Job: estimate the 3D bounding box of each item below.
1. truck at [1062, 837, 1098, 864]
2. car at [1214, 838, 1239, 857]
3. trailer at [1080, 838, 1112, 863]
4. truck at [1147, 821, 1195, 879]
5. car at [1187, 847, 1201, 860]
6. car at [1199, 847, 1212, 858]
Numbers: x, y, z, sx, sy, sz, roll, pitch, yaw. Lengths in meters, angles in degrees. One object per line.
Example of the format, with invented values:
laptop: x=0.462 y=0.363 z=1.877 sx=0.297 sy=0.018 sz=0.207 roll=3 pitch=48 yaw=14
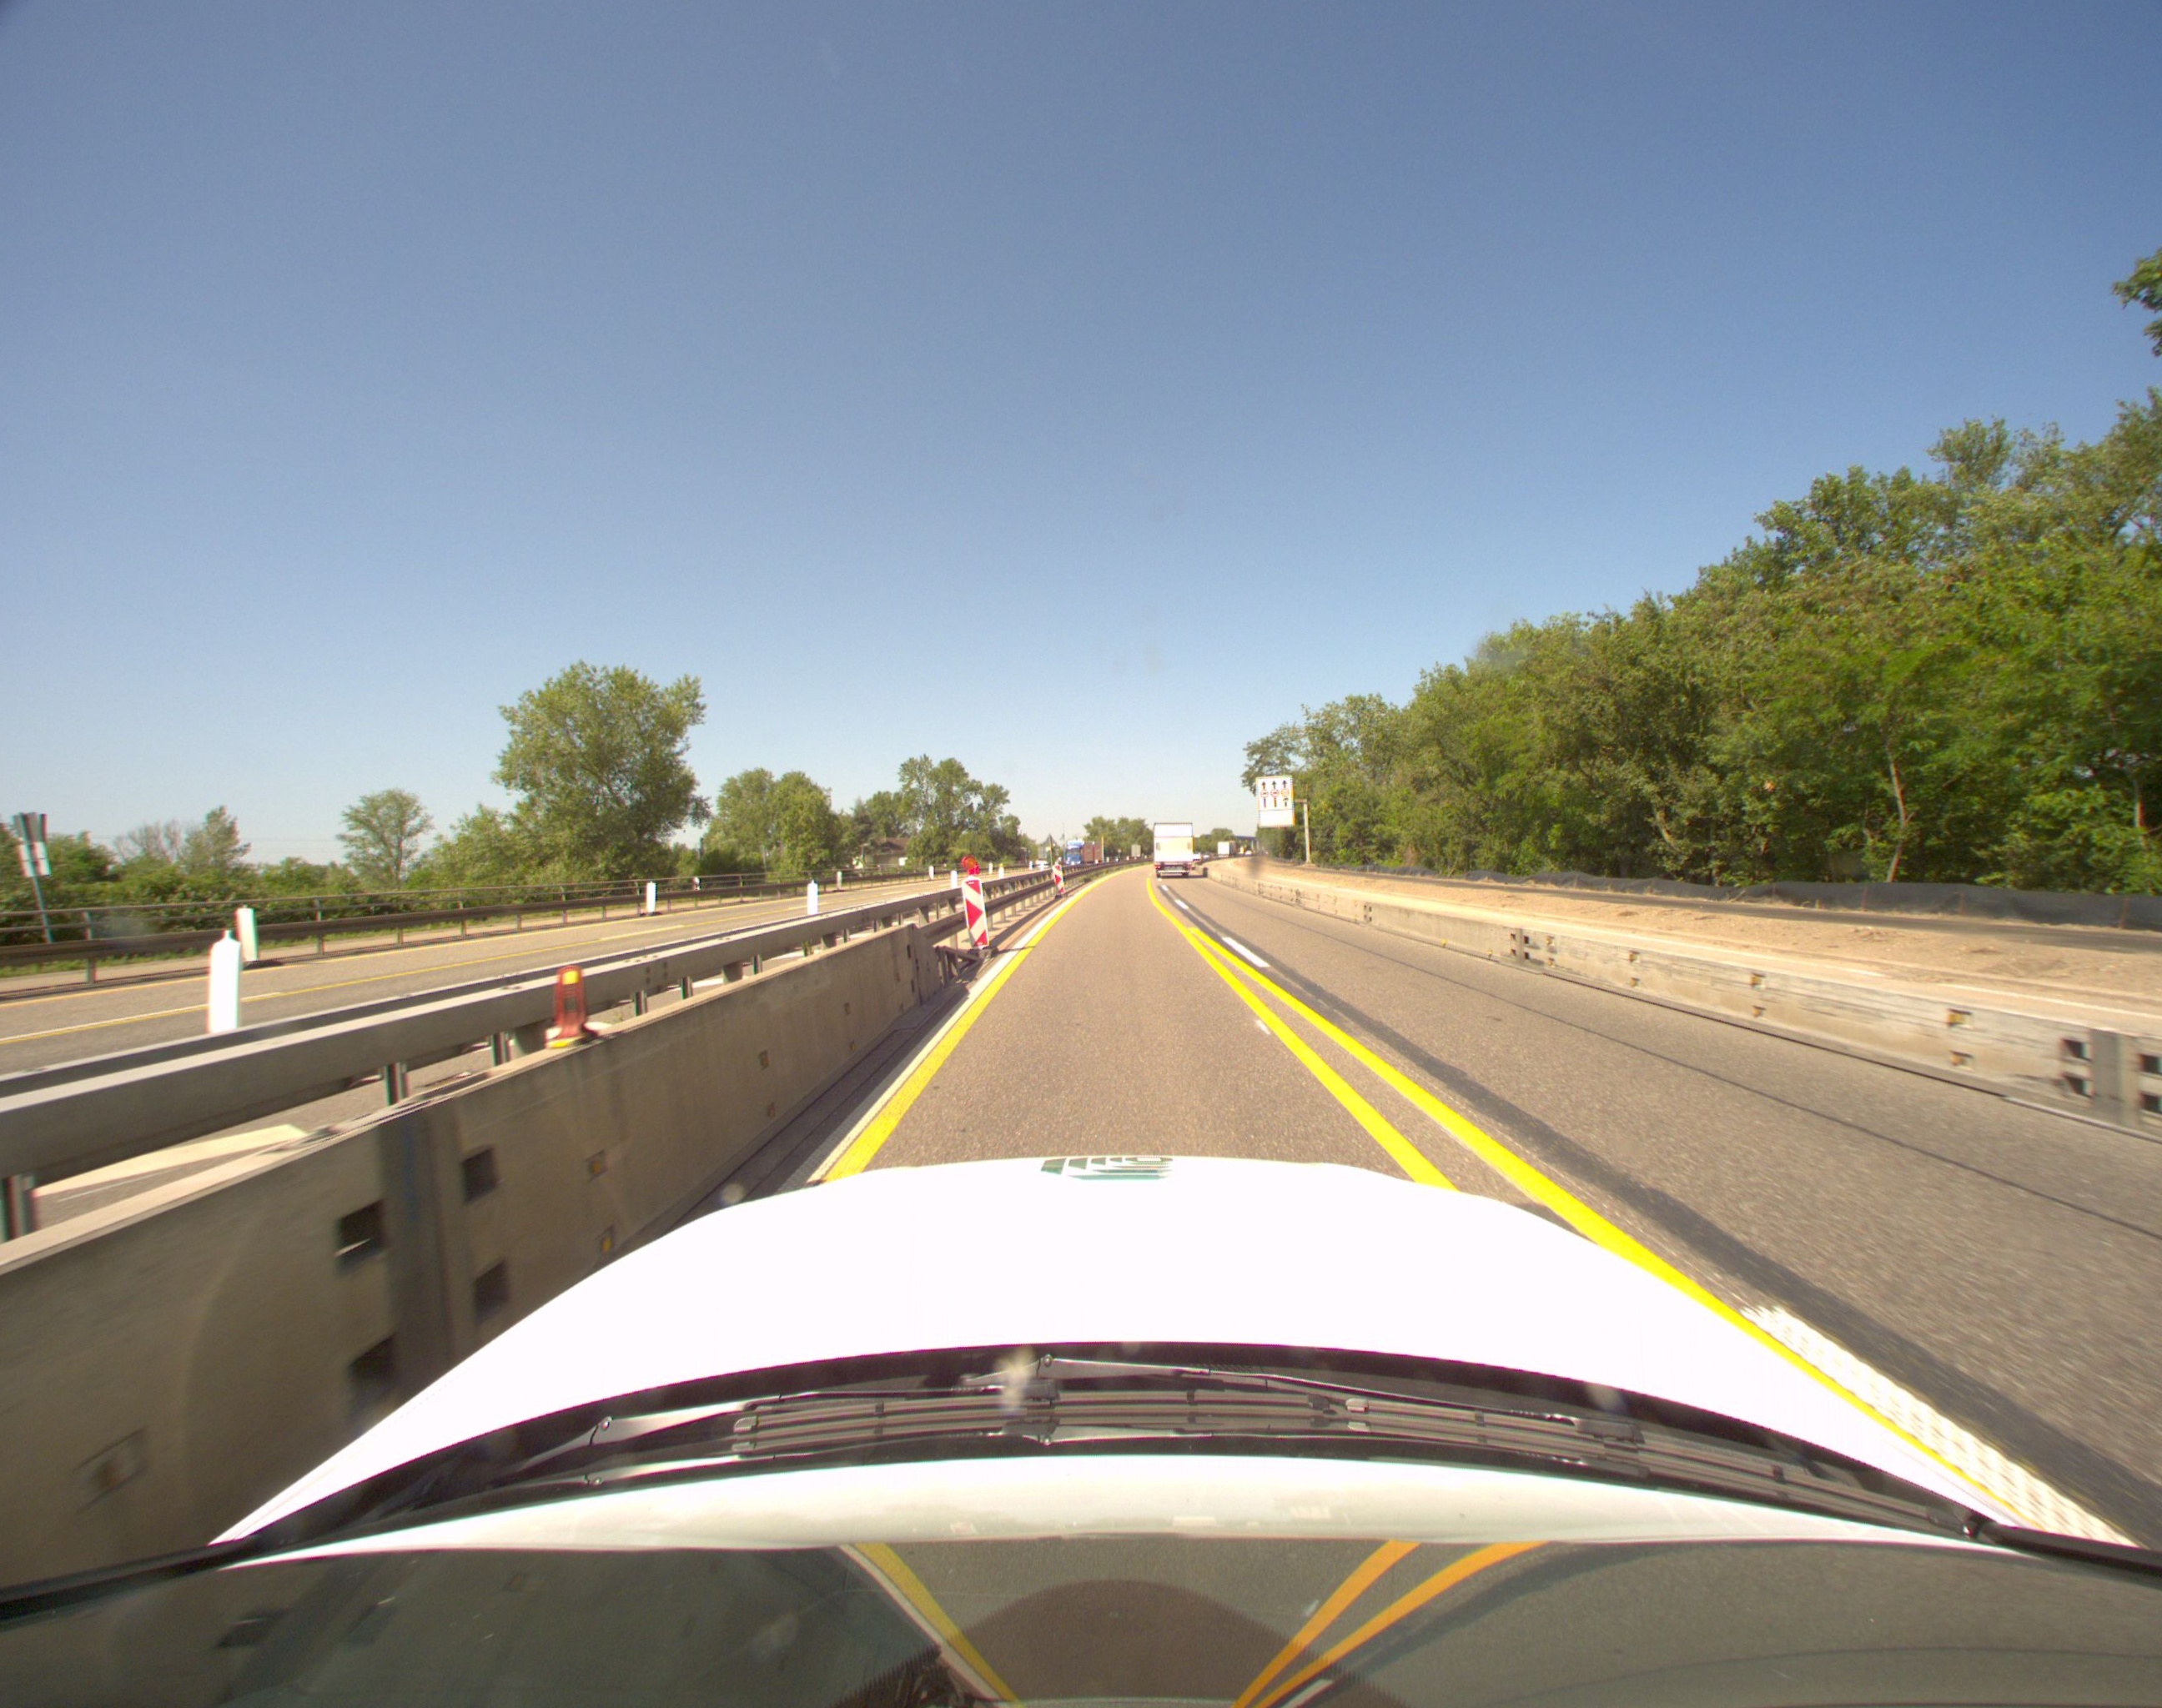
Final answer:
truck: x=-0.107 y=-0.515 z=130.275 sx=3.015 sy=4.091 sz=10.667 roll=-1 pitch=0 yaw=15
car: x=35.667 y=-1.580 z=199.157 sx=4.173 sy=4.251 sz=10.713 roll=-4 pitch=0 yaw=18
trailer: x=2.624 y=-0.568 z=140.197 sx=3.015 sy=4.091 sz=9.829 roll=-1 pitch=0 yaw=16
truck: x=5.702 y=-0.238 z=52.396 sx=2.623 sy=3.427 sz=7.239 roll=0 pitch=0 yaw=3
car: x=19.429 y=-0.150 z=139.834 sx=1.980 sy=2.013 sz=4.013 roll=-4 pitch=0 yaw=11
car: x=25.044 y=-0.345 z=163.454 sx=1.978 sy=2.013 sz=4.017 roll=-4 pitch=0 yaw=16
